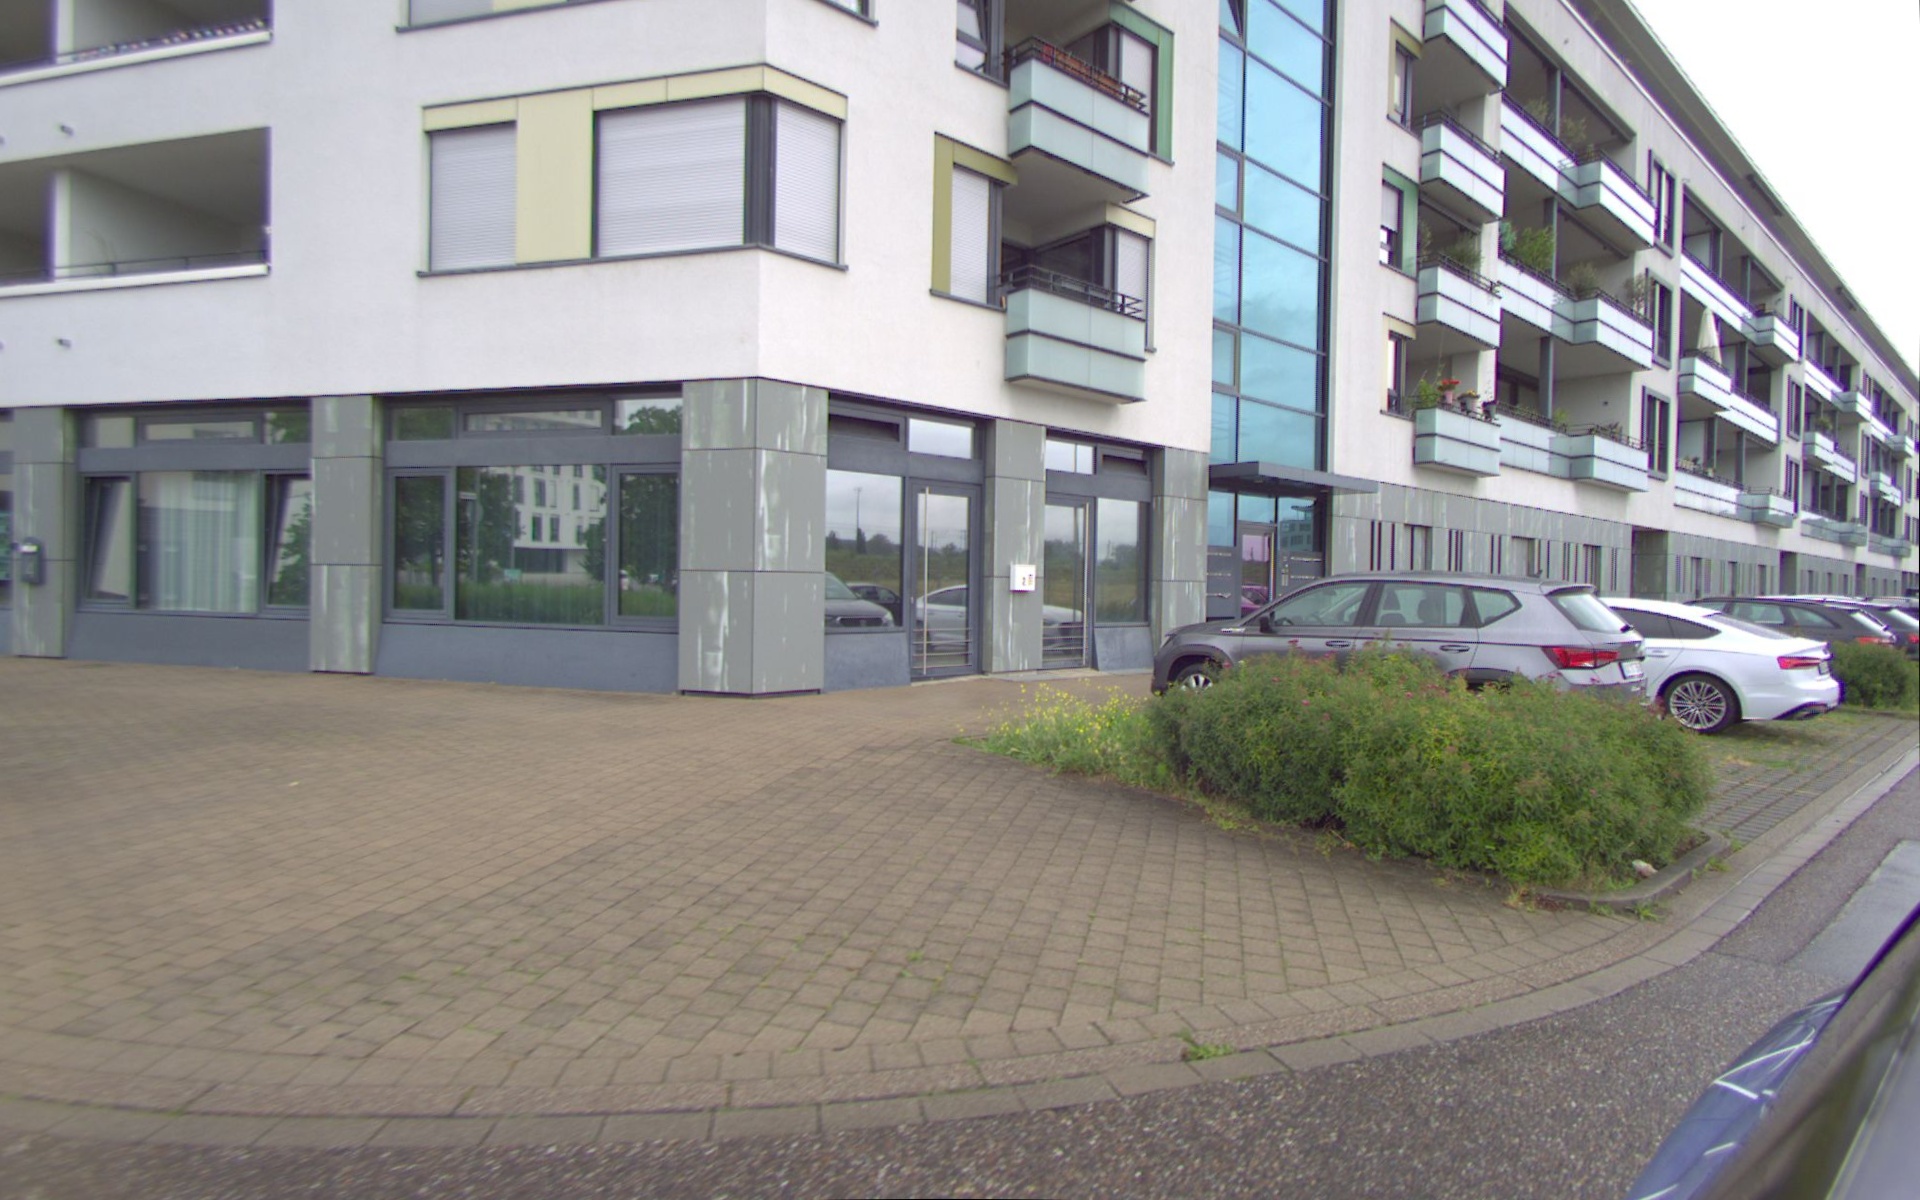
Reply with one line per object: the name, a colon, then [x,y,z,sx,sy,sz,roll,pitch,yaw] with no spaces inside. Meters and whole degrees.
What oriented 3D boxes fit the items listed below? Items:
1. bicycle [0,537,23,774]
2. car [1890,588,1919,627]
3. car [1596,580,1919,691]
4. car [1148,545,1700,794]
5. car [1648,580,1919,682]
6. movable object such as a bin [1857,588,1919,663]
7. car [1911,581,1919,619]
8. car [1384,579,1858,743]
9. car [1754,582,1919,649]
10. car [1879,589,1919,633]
bicycle: [-6.230,0.391,5.688,0.617,1.541,2.200,1,2,-20]
car: [42.518,0.371,43.016,1.658,1.664,4.215,-1,3,-41]
car: [13.272,0.499,17.019,1.846,1.497,3.994,0,3,-41]
car: [3.973,0.397,9.210,1.932,1.643,4.097,0,4,-42]
car: [15.205,0.485,18.361,2.021,1.515,4.070,0,3,-40]
movable object such as a bin: [20.022,0.520,21.455,1.554,1.545,1.303,0,0,-41]
car: [51.974,0.119,51.412,1.947,1.952,5.061,0,3,-41]
car: [7.728,0.557,12.219,1.877,1.422,4.419,0,4,-41]
car: [24.242,0.396,27.094,1.860,1.548,4.356,0,4,-41]
car: [35.727,0.475,36.287,1.731,1.509,3.855,1,3,-39]
